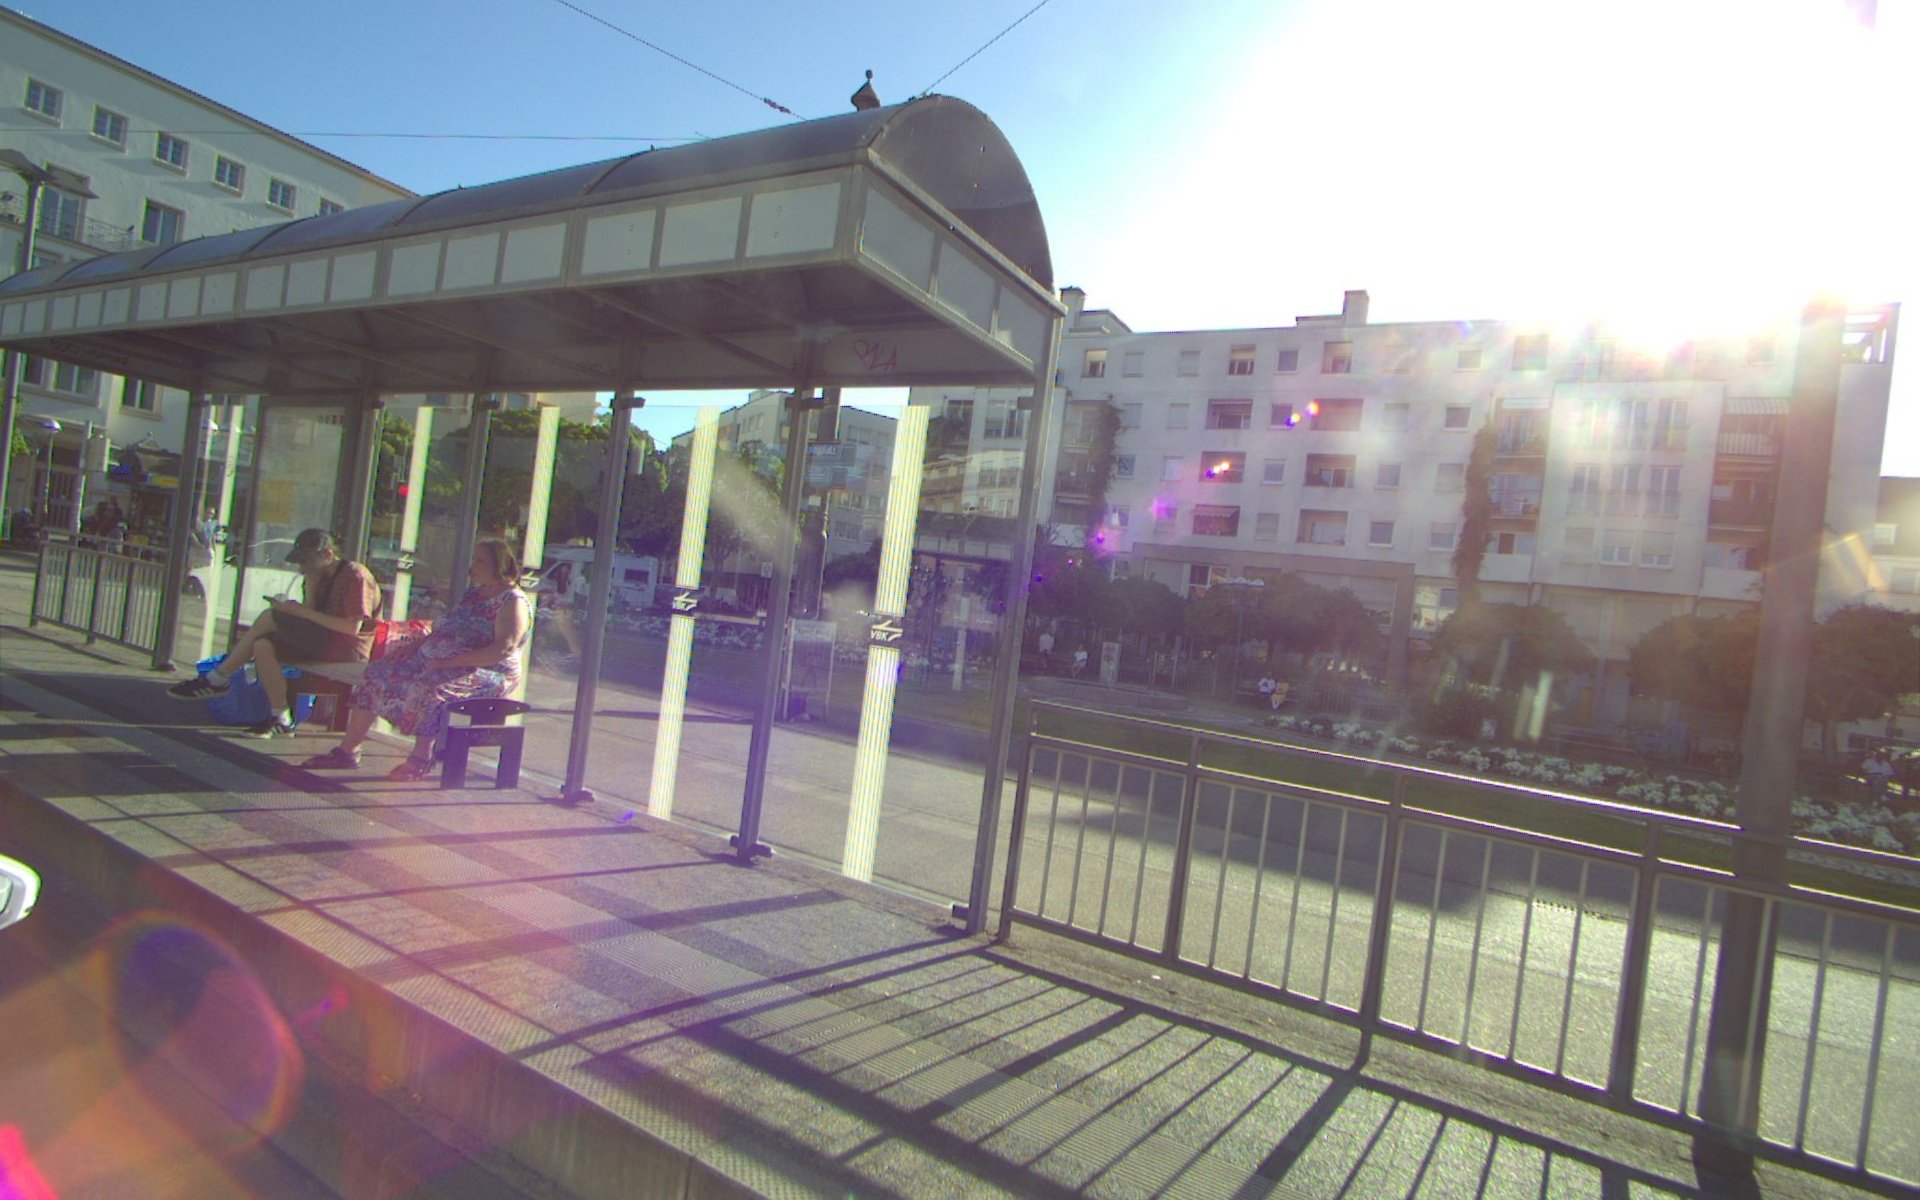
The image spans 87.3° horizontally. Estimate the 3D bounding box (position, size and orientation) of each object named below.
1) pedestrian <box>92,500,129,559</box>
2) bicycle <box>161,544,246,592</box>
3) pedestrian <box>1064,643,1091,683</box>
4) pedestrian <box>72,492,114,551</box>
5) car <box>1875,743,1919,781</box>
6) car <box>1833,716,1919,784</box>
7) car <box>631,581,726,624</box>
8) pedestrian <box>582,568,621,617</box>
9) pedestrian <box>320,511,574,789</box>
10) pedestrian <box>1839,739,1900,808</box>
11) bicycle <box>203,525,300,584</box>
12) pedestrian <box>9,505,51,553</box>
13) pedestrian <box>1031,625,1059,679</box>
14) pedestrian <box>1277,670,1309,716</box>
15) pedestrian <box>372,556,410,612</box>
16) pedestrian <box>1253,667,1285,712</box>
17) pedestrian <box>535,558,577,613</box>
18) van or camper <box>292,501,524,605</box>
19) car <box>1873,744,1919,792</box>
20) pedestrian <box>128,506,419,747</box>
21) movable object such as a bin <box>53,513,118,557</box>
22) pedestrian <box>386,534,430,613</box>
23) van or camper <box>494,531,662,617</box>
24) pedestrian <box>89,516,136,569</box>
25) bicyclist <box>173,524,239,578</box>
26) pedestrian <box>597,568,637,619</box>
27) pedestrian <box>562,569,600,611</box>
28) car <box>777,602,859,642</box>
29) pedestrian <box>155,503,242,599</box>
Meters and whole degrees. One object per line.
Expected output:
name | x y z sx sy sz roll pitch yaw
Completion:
pedestrian | -28.683 -2.375 33.956 0.649 1.861 0.653 7 0 35
bicycle | -19.989 -0.819 26.640 0.709 1.073 2.320 8 -2 -10
pedestrian | 4.066 2.179 34.856 0.718 1.287 1.042 7 0 11
pedestrian | -29.416 -2.645 34.119 0.667 1.861 0.785 7 0 35
car | 39.804 6.794 40.621 3.941 1.303 1.993 7 -1 38
car | 43.863 7.026 45.207 6.285 2.585 2.813 7 -1 28
car | -13.889 0.126 49.839 1.974 1.529 3.982 6 -3 43
pedestrian | -12.668 -0.253 35.568 0.651 1.604 0.902 7 0 35
pedestrian | -2.753 0.286 5.454 0.613 1.348 0.861 6 -4 31
pedestrian | 21.580 4.099 23.905 0.923 1.428 1.521 7 -1 42
bicycle | -23.530 -1.482 33.482 0.714 1.548 2.391 7 -3 31
pedestrian | -27.986 -2.126 30.276 0.736 1.332 0.622 7 0 -35
pedestrian | 2.929 1.796 34.710 0.661 1.745 1.028 7 0 11
pedestrian | 10.308 2.860 31.138 0.718 1.287 0.745 7 0 11
pedestrian | -12.785 -0.365 22.602 0.550 1.182 0.469 6 -2 40
pedestrian | 9.607 2.776 31.271 0.718 1.287 0.745 7 0 11
pedestrian | -13.527 -0.494 33.715 0.684 1.705 0.902 7 0 35
van or camper | -20.411 -1.621 37.685 2.331 2.780 7.132 9 0 32
car | 36.450 6.428 37.011 3.941 1.535 1.993 7 -1 38
pedestrian | -4.063 0.175 6.001 0.908 1.238 1.001 6 -4 32
movable object such as a bin | -28.112 -2.093 32.337 1.197 1.167 1.200 7 -1 32
pedestrian | -12.862 -0.618 23.441 0.520 1.765 0.557 6 -1 42
van or camper | -16.493 -1.045 43.832 2.340 2.873 6.411 7 -1 35
pedestrian | -25.460 -1.717 30.226 0.742 1.427 0.731 11 1 32
bicyclist | -19.965 -1.283 26.675 0.938 1.239 0.932 9 -2 -10
pedestrian | -11.677 -0.217 34.232 0.651 1.605 0.902 7 0 35
pedestrian | -12.741 -0.337 33.853 0.595 1.295 0.902 7 -1 36
car | -6.708 1.074 47.950 1.964 1.503 4.000 7 -1 23
pedestrian | -16.479 -1.051 21.773 1.110 1.900 0.983 6 -1 29
